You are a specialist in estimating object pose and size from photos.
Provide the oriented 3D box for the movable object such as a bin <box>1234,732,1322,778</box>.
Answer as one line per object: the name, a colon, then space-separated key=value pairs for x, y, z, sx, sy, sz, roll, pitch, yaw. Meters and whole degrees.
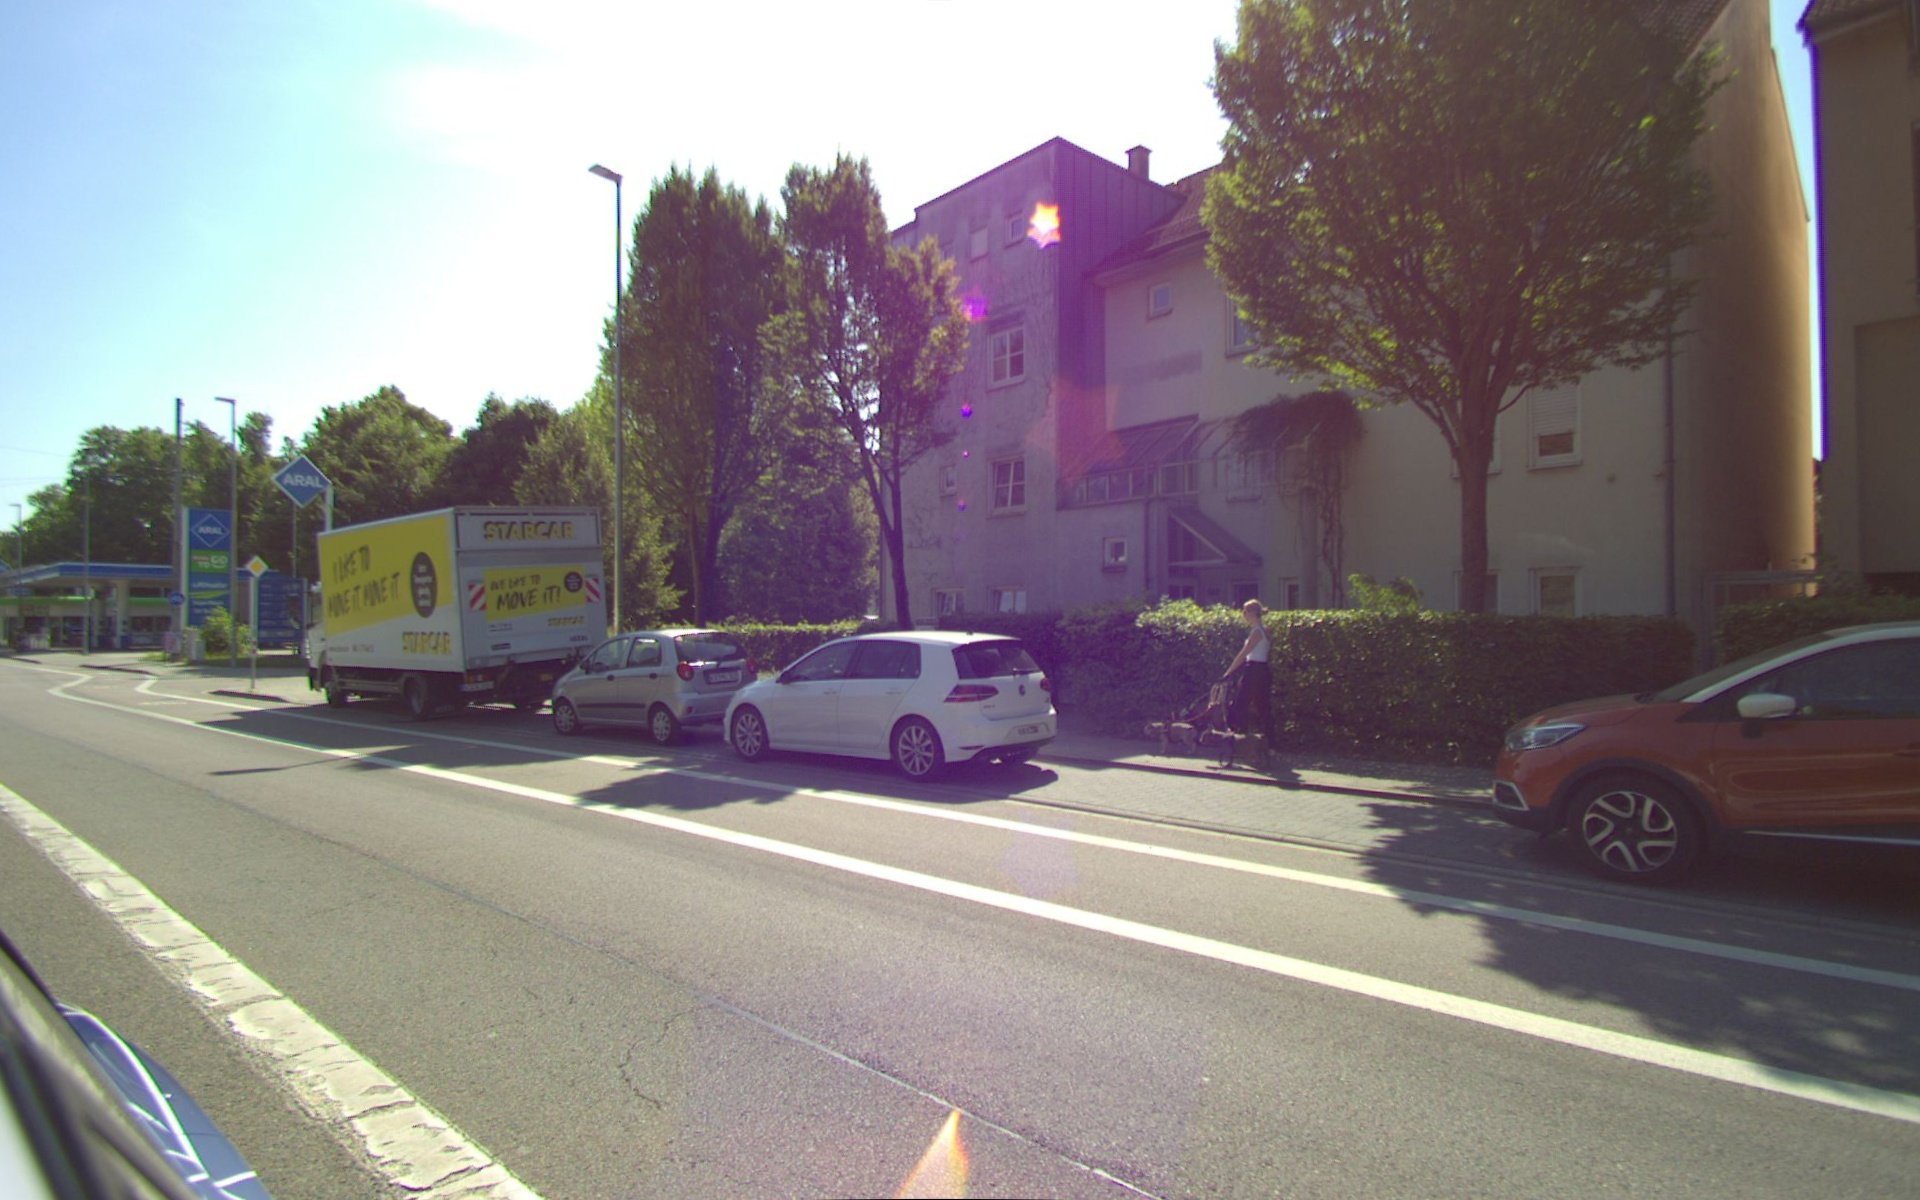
movable object such as a bin: x=3.102 y=1.504 z=9.886 sx=0.755 sy=0.357 sz=0.323 roll=-2 pitch=-2 yaw=40

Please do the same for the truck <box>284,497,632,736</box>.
truck: x=-9.695 y=0.323 z=18.914 sx=8.584 sy=3.557 sz=2.640 roll=-2 pitch=0 yaw=41

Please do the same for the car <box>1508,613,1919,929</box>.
car: x=5.617 y=0.863 z=5.543 sx=4.316 sy=1.563 sz=1.713 roll=-2 pitch=-1 yaw=41

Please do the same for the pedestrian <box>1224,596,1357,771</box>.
pedestrian: x=3.443 y=0.830 z=10.556 sx=1.054 sy=1.703 sz=0.866 roll=-2 pitch=-2 yaw=40

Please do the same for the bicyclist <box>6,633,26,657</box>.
bicyclist: x=-57.146 y=2.732 z=61.277 sx=0.832 sy=1.447 sz=0.838 roll=-4 pitch=-3 yaw=42

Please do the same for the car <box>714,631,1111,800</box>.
car: x=-0.663 y=1.086 z=11.019 sx=4.278 sy=1.440 sz=1.739 roll=-2 pitch=-1 yaw=41

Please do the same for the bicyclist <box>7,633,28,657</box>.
bicyclist: x=-56.546 y=2.698 z=60.723 sx=0.832 sy=1.447 sz=0.838 roll=-2 pitch=-2 yaw=43

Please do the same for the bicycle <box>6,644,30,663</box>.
bicycle: x=-56.541 y=3.179 z=60.724 sx=2.772 sy=1.103 sz=0.816 roll=-2 pitch=-2 yaw=43

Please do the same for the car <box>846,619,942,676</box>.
car: x=-3.039 y=2.164 z=47.008 sx=4.118 sy=2.557 sz=1.792 roll=1 pitch=-2 yaw=-37

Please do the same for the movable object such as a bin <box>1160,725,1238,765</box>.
movable object such as a bin: x=2.561 y=1.552 z=10.877 sx=0.755 sy=0.342 sz=0.323 roll=-2 pitch=-2 yaw=40

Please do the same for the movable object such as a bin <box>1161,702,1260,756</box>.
movable object such as a bin: x=2.861 y=1.470 z=11.607 sx=1.075 sy=0.520 sz=0.323 roll=-2 pitch=-2 yaw=41

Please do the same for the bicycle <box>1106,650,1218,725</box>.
bicycle: x=3.072 y=1.286 z=15.271 sx=1.988 sy=1.018 sz=0.550 roll=1 pitch=-2 yaw=-42

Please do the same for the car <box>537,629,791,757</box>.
car: x=-4.200 y=1.191 z=14.124 sx=3.631 sy=1.495 sz=1.594 roll=-2 pitch=0 yaw=39

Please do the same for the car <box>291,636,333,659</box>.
car: x=-40.442 y=2.956 z=63.232 sx=1.774 sy=1.356 sz=4.257 roll=1 pitch=-2 yaw=-27
